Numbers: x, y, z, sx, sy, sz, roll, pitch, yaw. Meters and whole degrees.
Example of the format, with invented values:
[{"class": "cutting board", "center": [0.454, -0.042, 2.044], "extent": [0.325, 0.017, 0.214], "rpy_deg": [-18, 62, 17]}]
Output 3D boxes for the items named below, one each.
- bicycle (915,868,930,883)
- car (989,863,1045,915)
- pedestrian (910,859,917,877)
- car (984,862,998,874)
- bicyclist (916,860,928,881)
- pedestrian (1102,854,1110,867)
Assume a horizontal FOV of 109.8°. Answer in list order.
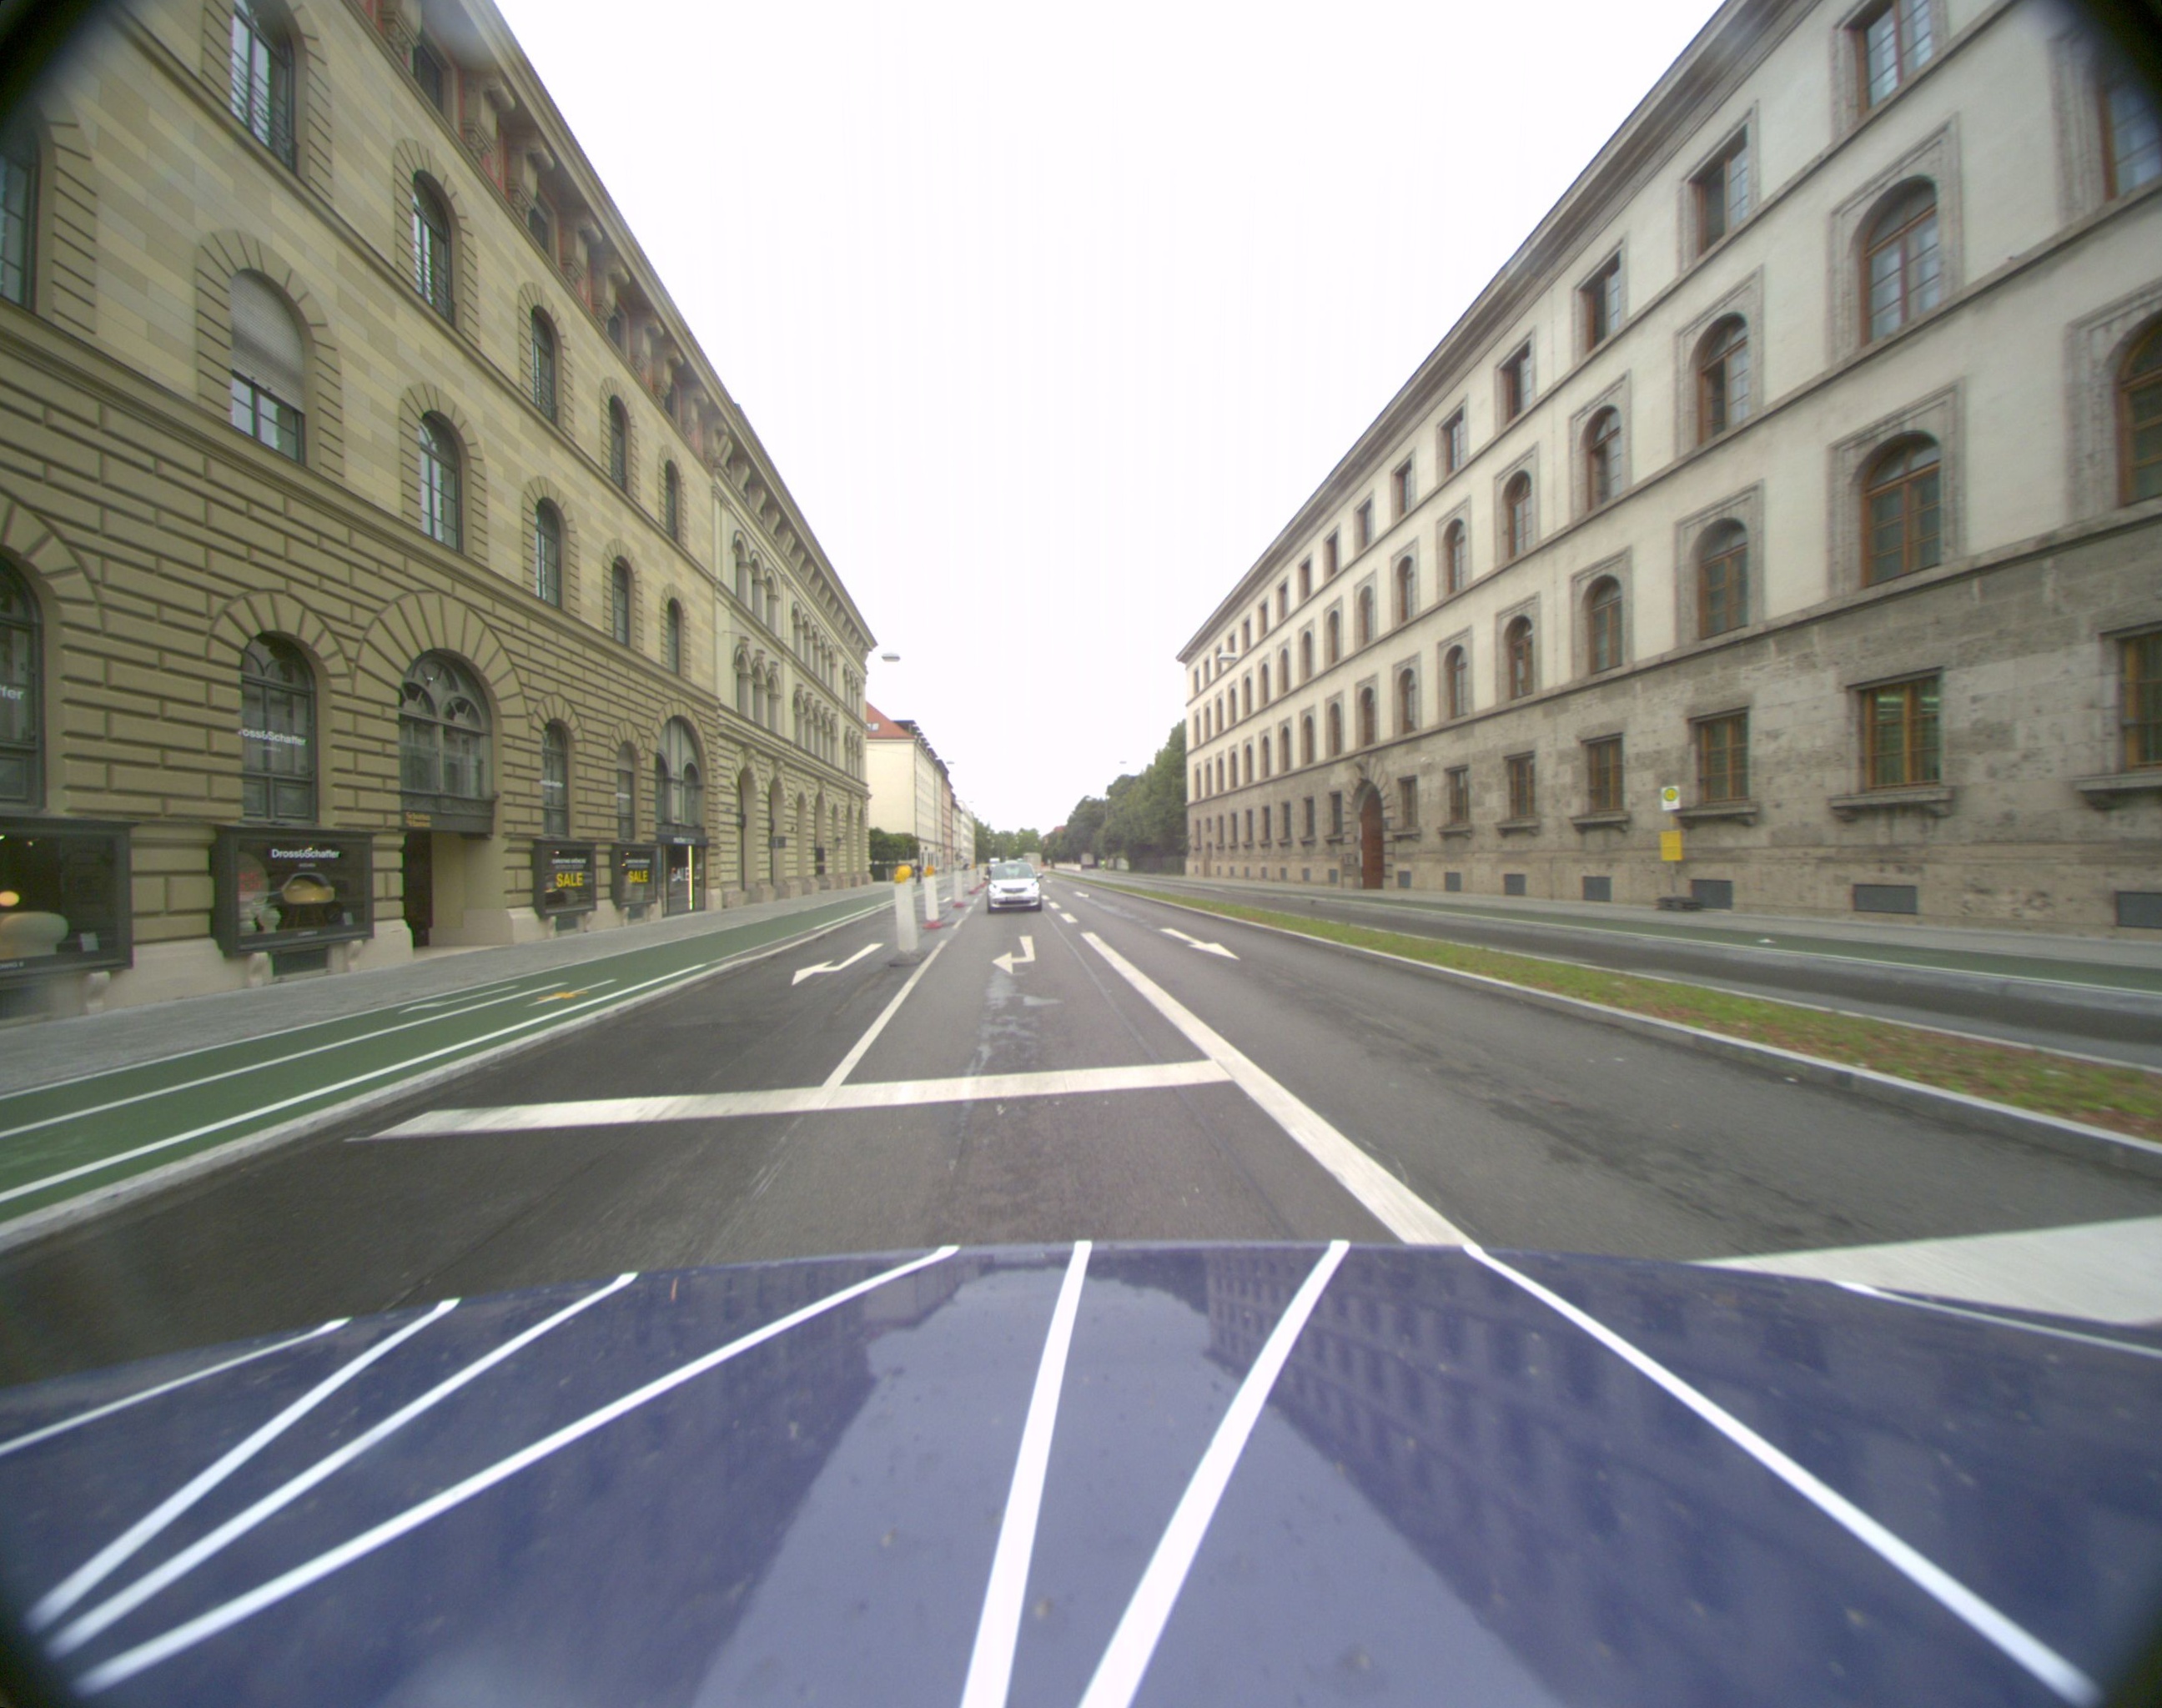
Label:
[{"class": "bicycle", "center": [-12.161, 1.647, 58.350], "extent": [0.751, 1.026, 2.530], "rpy_deg": [-2, 0, -6]}, {"class": "car", "center": [-2.095, 1.061, 24.757], "extent": [1.634, 1.494, 3.998], "rpy_deg": [-2, 0, -5]}, {"class": "pedestrian", "center": [-17.594, 1.452, 79.904], "extent": [0.655, 1.863, 0.825], "rpy_deg": [0, 0, -5]}, {"class": "car", "center": [-12.023, 1.857, 101.756], "extent": [1.740, 1.425, 3.998], "rpy_deg": [-2, 0, -5]}, {"class": "bicyclist", "center": [-12.172, 1.265, 58.264], "extent": [0.724, 1.543, 0.858], "rpy_deg": [-3, 0, -6]}, {"class": "pedestrian", "center": [3.922, 0.947, 118.803], "extent": [0.756, 2.002, 0.869], "rpy_deg": [-2, 0, 36]}]
